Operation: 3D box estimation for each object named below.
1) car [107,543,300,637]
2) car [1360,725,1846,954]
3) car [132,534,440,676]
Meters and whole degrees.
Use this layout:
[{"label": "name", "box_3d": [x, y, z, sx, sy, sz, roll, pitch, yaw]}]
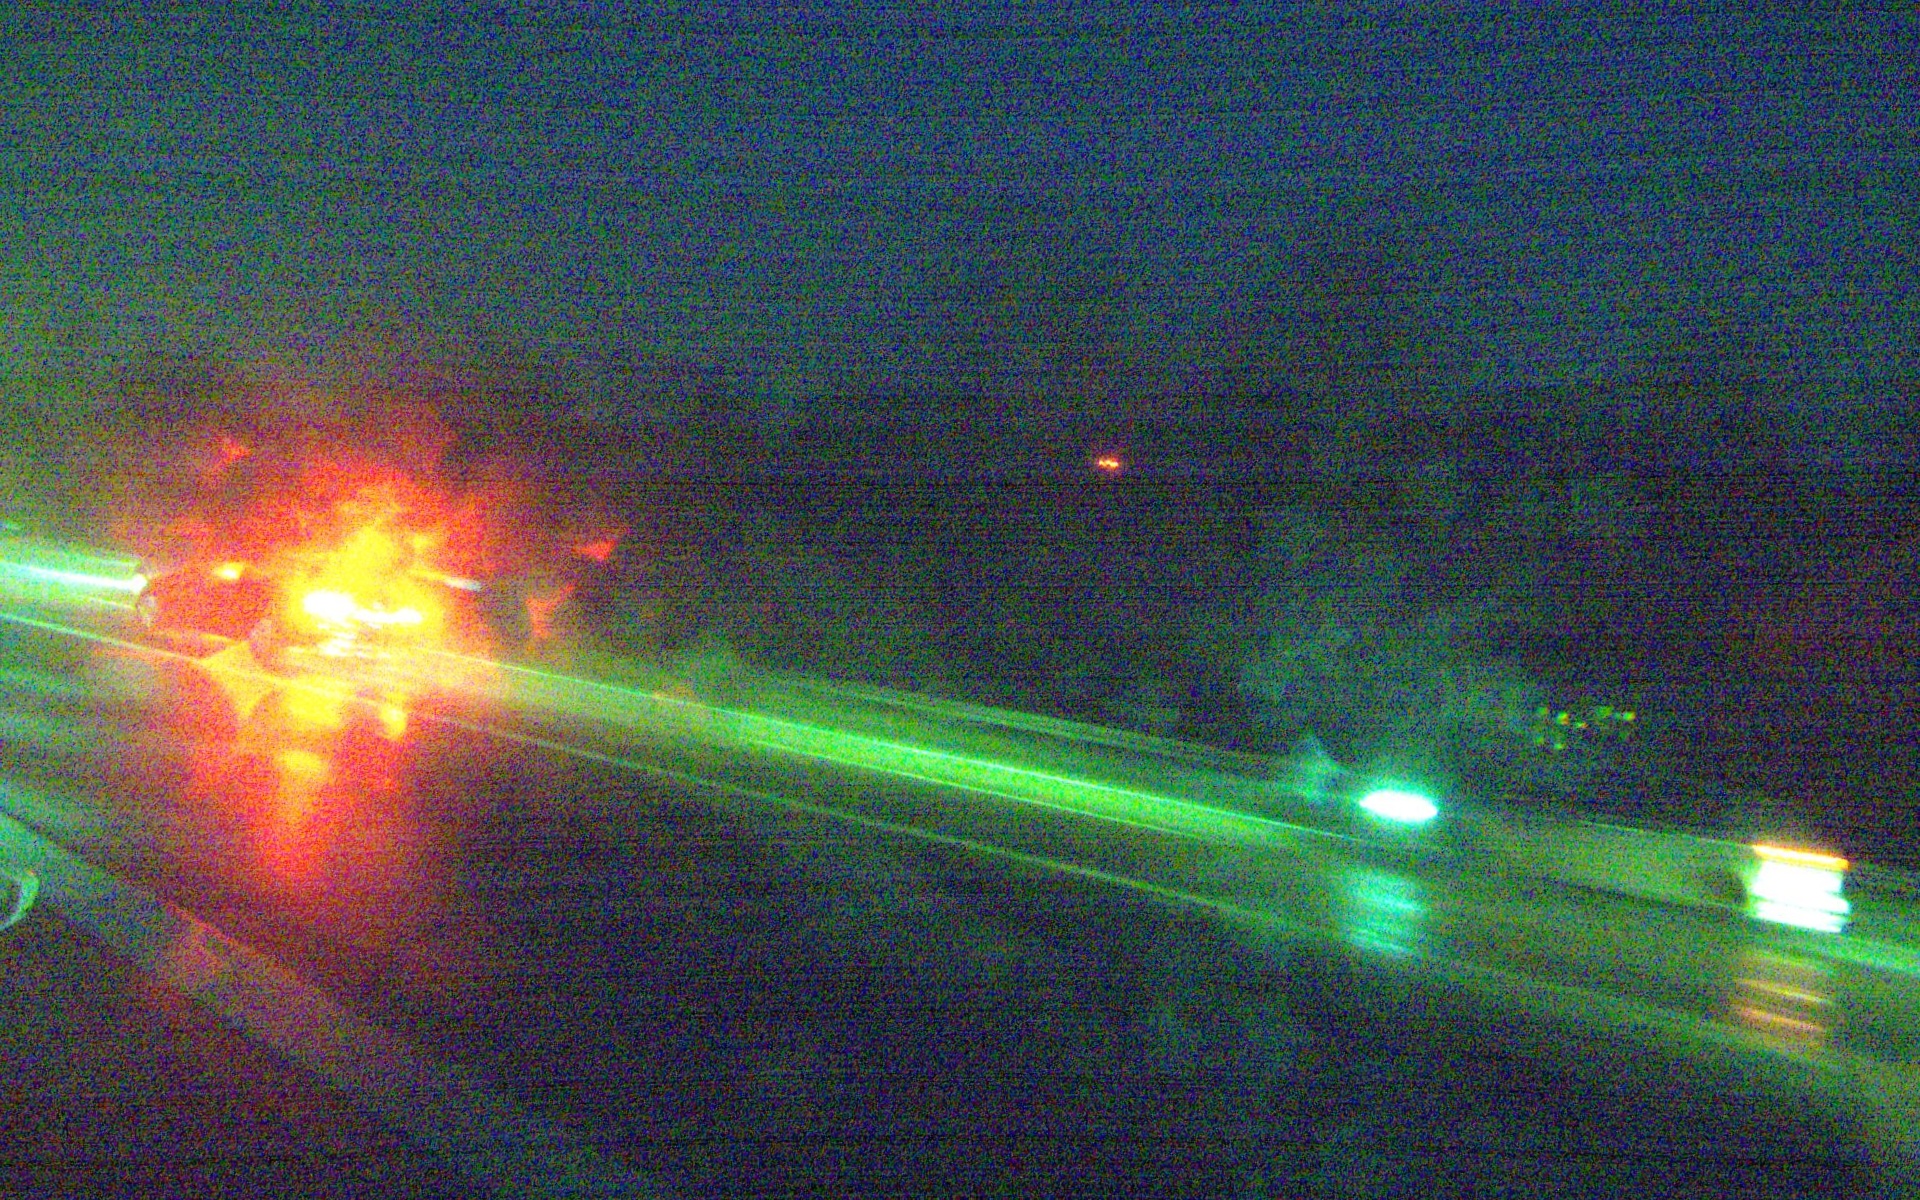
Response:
[{"label": "car", "box_3d": [-17.156, -0.225, 22.808, 3.972, 1.514, 1.726, 7, -2, 25]}, {"label": "car", "box_3d": [6.946, 2.540, 11.471, 4.250, 1.502, 1.796, 7, -2, 23]}, {"label": "car", "box_3d": [-10.074, 0.058, 14.997, 4.261, 1.465, 1.999, 7, -2, 30]}]
